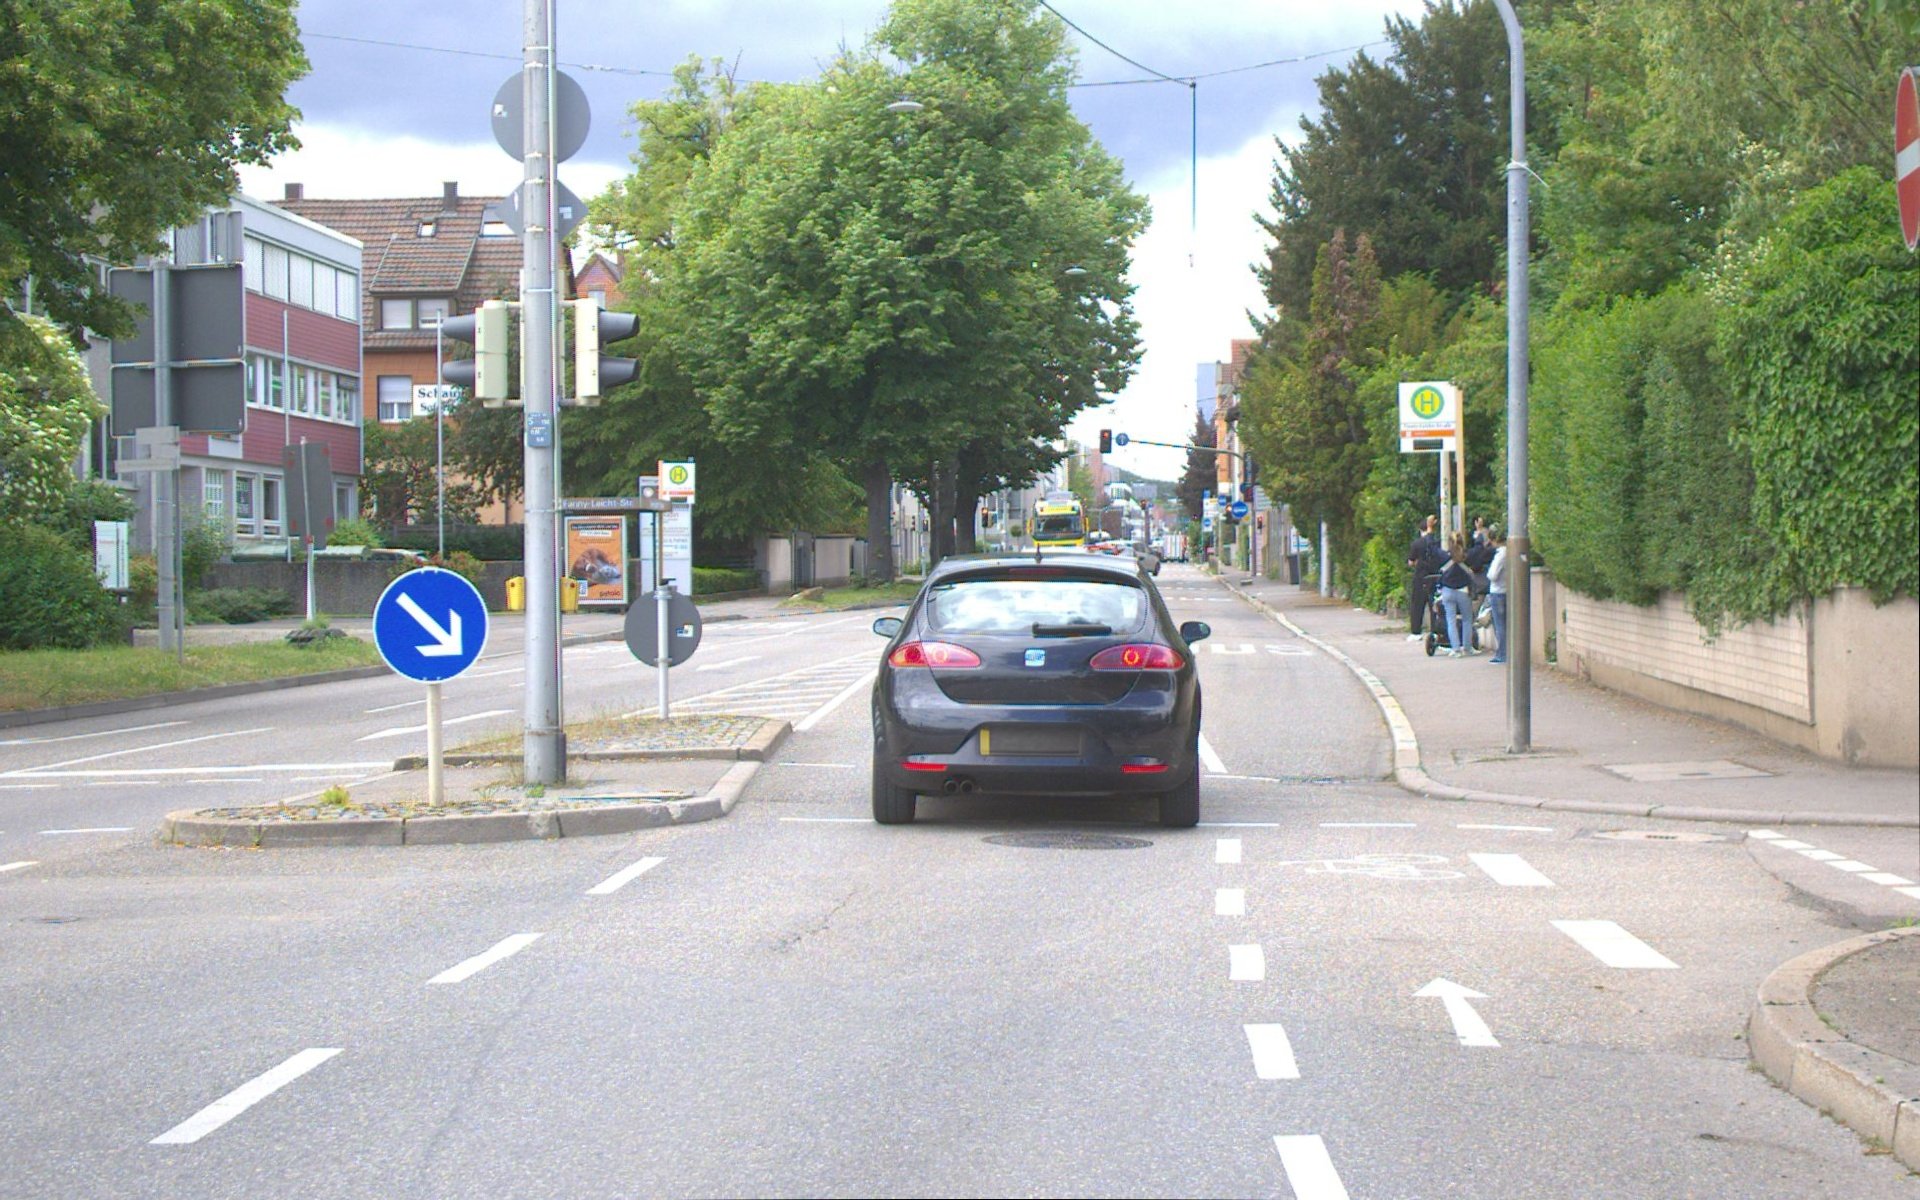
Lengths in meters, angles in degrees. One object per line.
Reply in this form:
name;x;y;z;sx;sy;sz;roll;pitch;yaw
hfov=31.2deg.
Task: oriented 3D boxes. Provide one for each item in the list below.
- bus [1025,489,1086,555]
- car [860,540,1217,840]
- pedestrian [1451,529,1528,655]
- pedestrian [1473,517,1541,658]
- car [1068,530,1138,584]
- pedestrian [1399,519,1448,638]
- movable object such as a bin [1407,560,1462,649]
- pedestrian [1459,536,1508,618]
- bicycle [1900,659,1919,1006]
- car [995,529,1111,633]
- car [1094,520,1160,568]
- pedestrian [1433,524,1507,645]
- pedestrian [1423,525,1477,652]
bus;4.717;-3.848;169.026;2.869;3.125;6.397;-1;1;2
car;0.380;0.423;19.146;1.759;1.444;3.714;1;1;0
pedestrian;6.216;-0.097;40.369;0.621;1.422;0.511;-3;2;41
pedestrian;6.186;-0.148;38.915;0.543;1.550;0.471;-5;1;-5
car;4.234;-1.300;102.392;1.941;1.476;4.253;-1;2;1
pedestrian;6.746;-0.320;50.097;0.585;1.706;0.529;-3;1;2
movable object such as a bin;5.914;0.060;42.851;0.441;1.054;0.567;-3;2;29
pedestrian;6.408;-0.285;42.103;0.454;0.961;0.383;-4;2;-3
bicycle;3.166;0.707;9.705;0.628;1.025;1.504;0;1;1
car;1.674;-0.366;60.599;1.819;1.693;4.253;-1;2;4
car;6.106;-2.048;125.368;1.994;1.678;3.999;-1;1;9
pedestrian;6.491;-0.197;43.769;0.780;1.495;0.605;-3;1;-2
pedestrian;5.981;-0.147;41.986;0.550;1.512;0.361;-3;2;12
